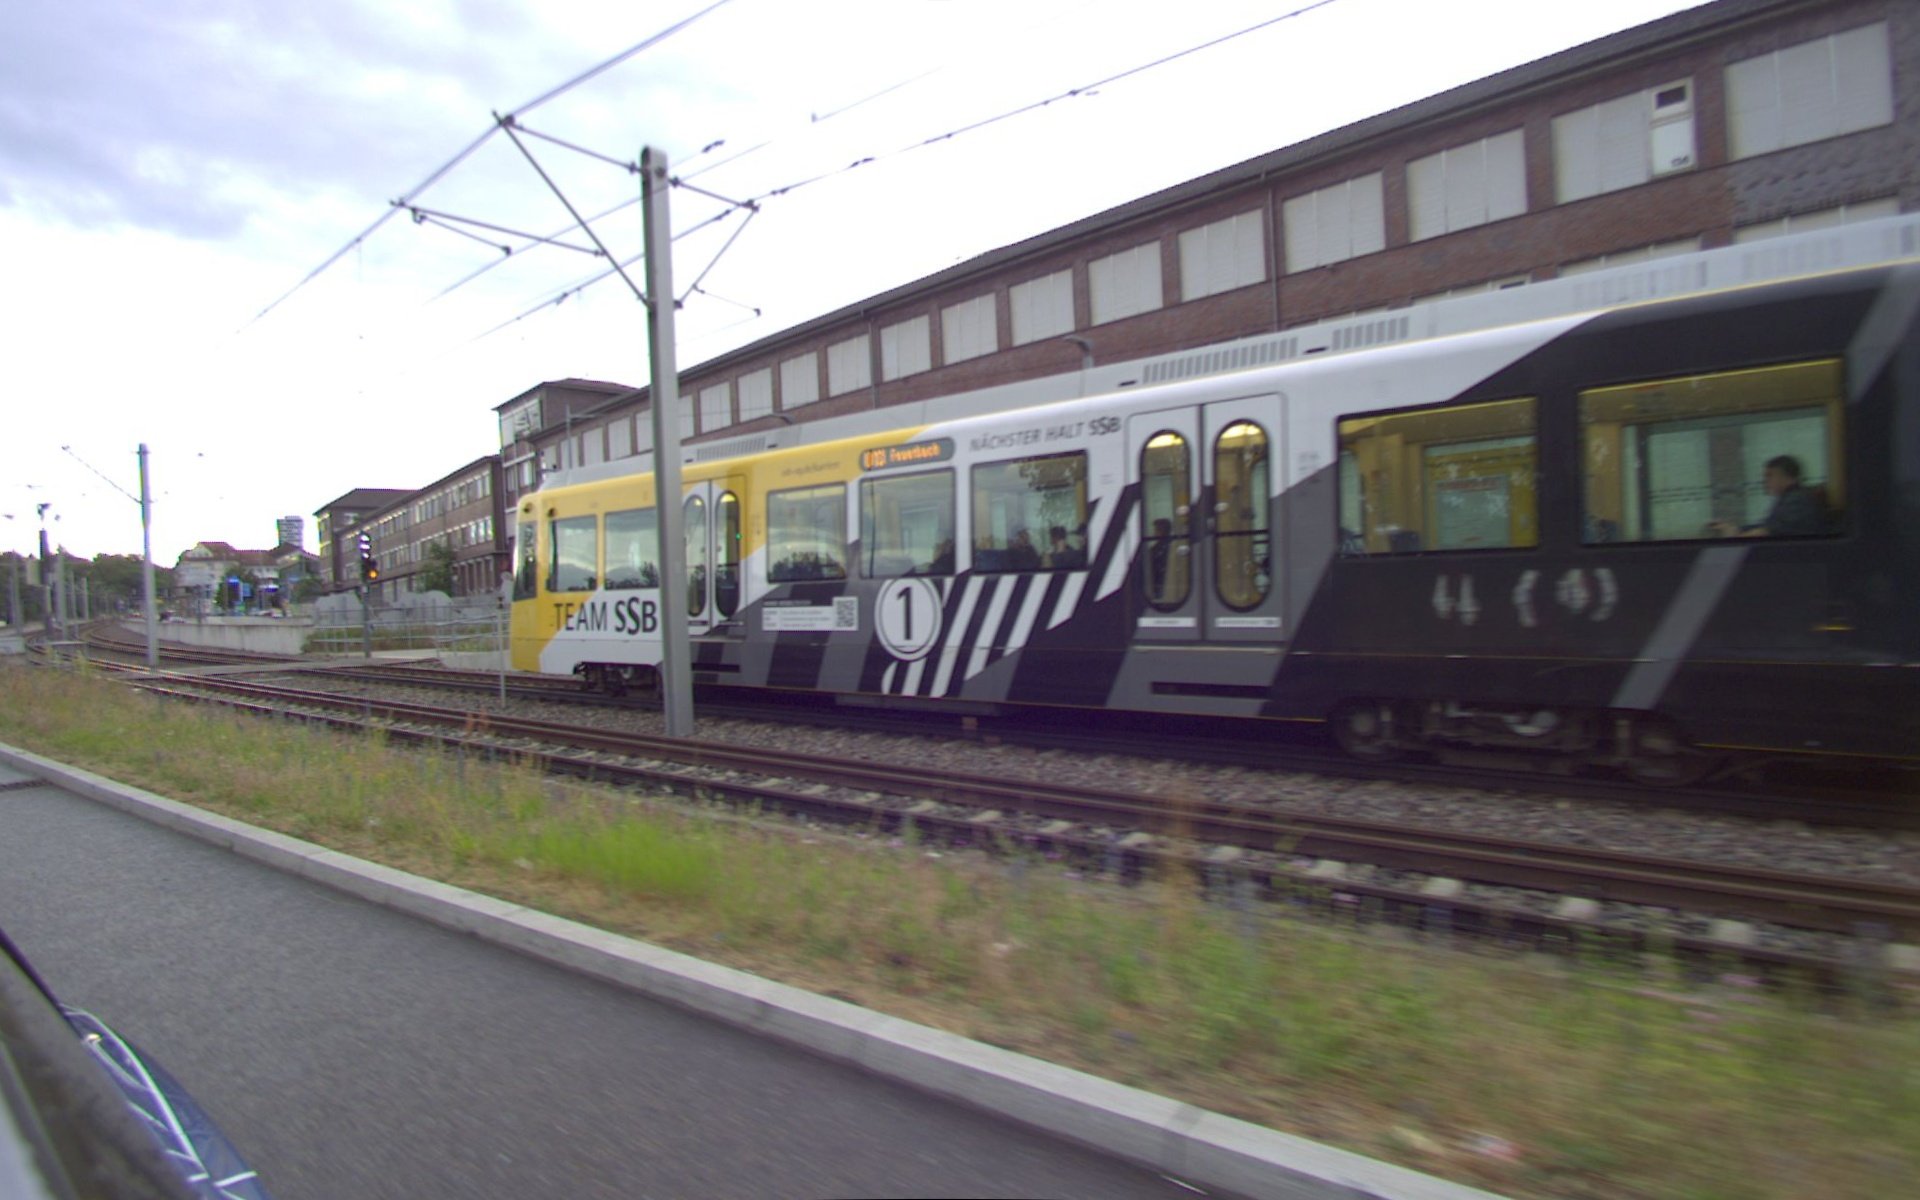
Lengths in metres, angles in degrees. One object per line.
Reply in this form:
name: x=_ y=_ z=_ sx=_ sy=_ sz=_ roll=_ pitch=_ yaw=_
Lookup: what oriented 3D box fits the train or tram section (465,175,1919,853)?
train or tram section: x=-0.025 y=-0.389 z=12.390 sx=19.553 sy=3.915 sz=2.926 roll=-1 pitch=1 yaw=40
